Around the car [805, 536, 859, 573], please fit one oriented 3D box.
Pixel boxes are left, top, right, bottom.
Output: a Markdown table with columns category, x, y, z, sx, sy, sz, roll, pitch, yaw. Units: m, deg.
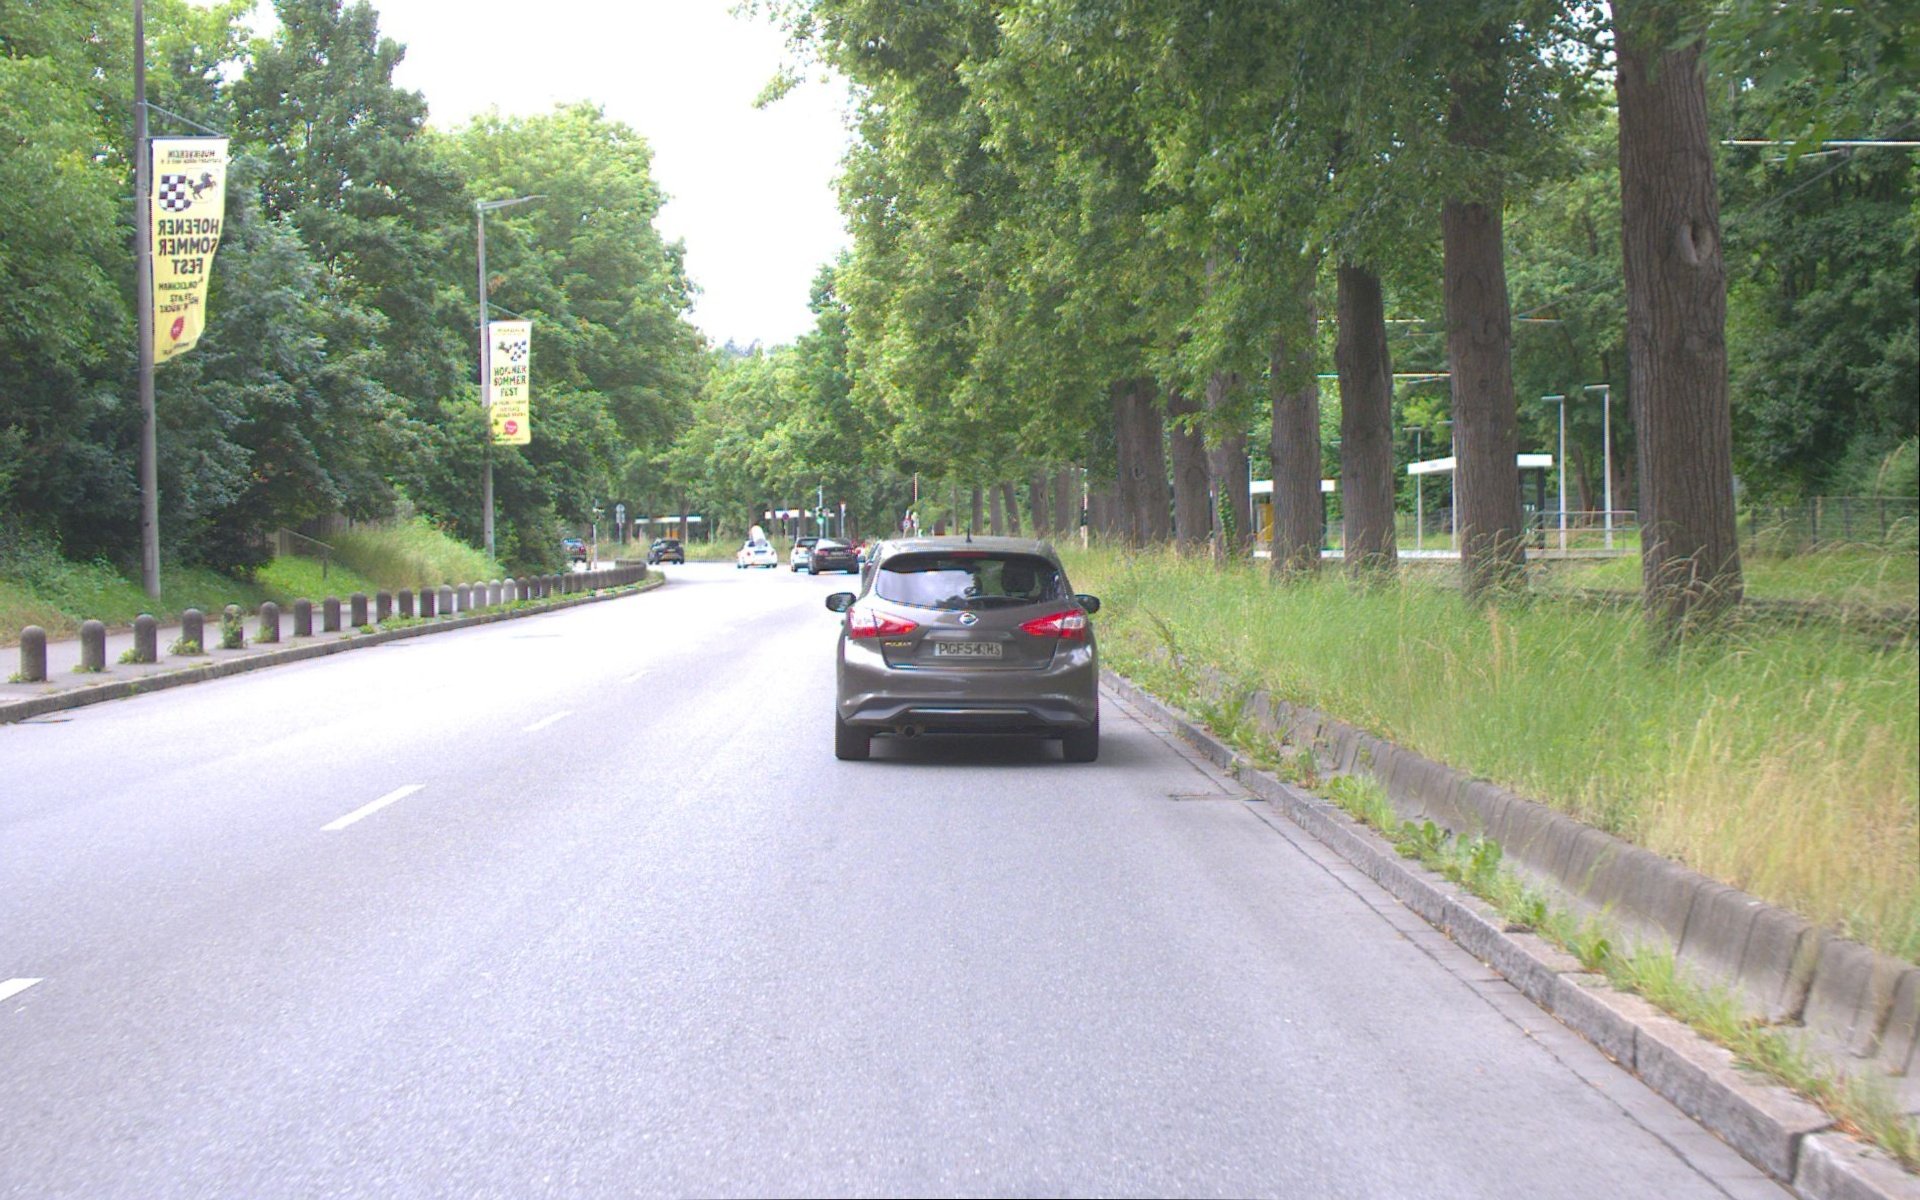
| category | x | y | z | sx | sy | sz | roll | pitch | yaw |
| --- | --- | --- | --- | --- | --- | --- | --- | --- | --- |
| car | -5.137 | -1.832 | 137.687 | 1.561 | 1.436 | 3.553 | 1 | 1 | -12 |

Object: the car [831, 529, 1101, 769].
| category | x | y | z | sx | sy | sz | roll | pitch | yaw |
| --- | --- | --- | --- | --- | --- | --- | --- | --- | --- |
| car | -0.008 | 0.282 | 24.053 | 1.730 | 1.532 | 3.552 | 1 | 1 | -2 |

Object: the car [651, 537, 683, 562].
| category | x | y | z | sx | sy | sz | roll | pitch | yaw |
| --- | --- | --- | --- | --- | --- | --- | --- | --- | --- |
| car | -17.796 | -3.077 | 208.974 | 1.561 | 1.436 | 3.553 | 1 | 1 | -11 |

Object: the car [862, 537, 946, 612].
| category | x | y | z | sx | sy | sz | roll | pitch | yaw |
| --- | --- | --- | --- | --- | --- | --- | --- | --- | --- |
| car | -1.204 | -0.559 | 72.773 | 1.730 | 1.532 | 3.552 | 1 | 1 | -2 |

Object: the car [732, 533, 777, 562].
| category | x | y | z | sx | sy | sz | roll | pitch | yaw |
| --- | --- | --- | --- | --- | --- | --- | --- | --- | --- |
| car | -10.492 | -2.699 | 175.448 | 1.561 | 1.436 | 3.553 | 1 | 1 | -15 |

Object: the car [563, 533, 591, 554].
| category | x | y | z | sx | sy | sz | roll | pitch | yaw |
| --- | --- | --- | --- | --- | --- | --- | --- | --- | --- |
| car | -27.173 | -4.046 | 244.000 | 1.561 | 1.436 | 3.553 | 1 | 1 | -14 |

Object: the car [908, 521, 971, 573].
| category | x | y | z | sx | sy | sz | roll | pitch | yaw |
| --- | --- | --- | --- | --- | --- | --- | --- | --- | --- |
| car | -0.600 | -1.509 | 97.636 | 1.561 | 1.436 | 3.552 | 1 | 1 | -4 |

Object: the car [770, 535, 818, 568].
| category | x | y | z | sx | sy | sz | roll | pitch | yaw |
| --- | --- | --- | --- | --- | --- | --- | --- | --- | --- |
| car | -7.440 | -2.191 | 153.726 | 1.561 | 1.436 | 3.553 | 1 | 1 | -12 |
